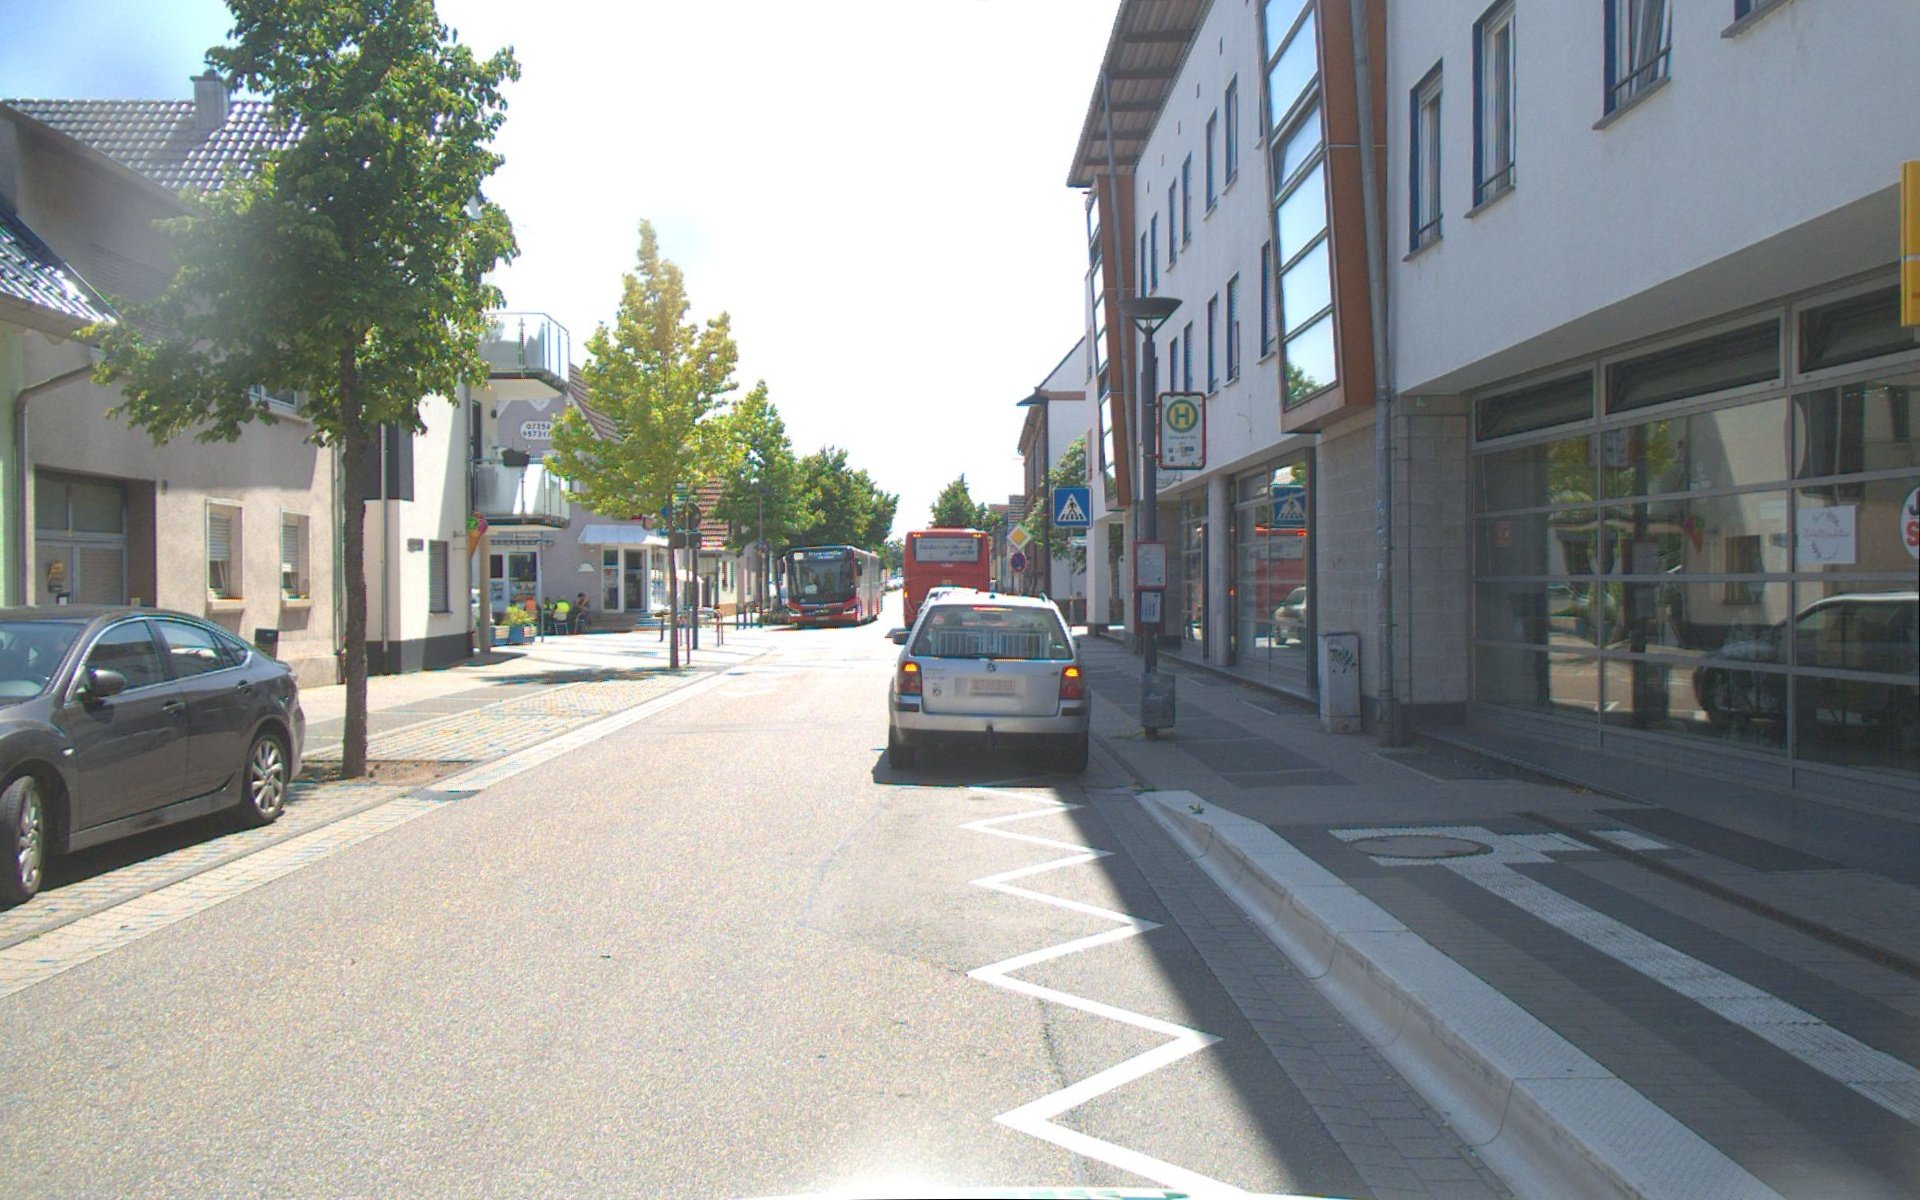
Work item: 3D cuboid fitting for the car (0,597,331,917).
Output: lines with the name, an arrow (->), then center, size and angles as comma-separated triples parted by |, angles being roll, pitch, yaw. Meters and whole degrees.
car -> -5.315, 0.742, 9.551 | 1.626, 1.462, 4.538 | -1, 1, 0

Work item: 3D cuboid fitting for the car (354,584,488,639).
car -> -16.580, 0.326, 51.023 | 3.855, 1.572, 1.511 | -1, 2, -18

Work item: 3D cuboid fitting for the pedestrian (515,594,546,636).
pedestrian -> -13.909, 0.486, 53.514 | 0.631, 1.311, 0.776 | 2, 0, -44

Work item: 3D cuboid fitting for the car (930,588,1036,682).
car -> 0.331, 0.538, 27.885 | 1.643, 1.455, 3.679 | 1, 0, -1

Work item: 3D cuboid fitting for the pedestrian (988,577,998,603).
pedestrian -> 2.219, -0.657, 110.746 | 0.594, 1.696, 0.789 | -1, 0, -3

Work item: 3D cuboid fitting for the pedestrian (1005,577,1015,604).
pedestrian -> 3.276, -0.620, 108.099 | 0.594, 1.696, 0.789 | -1, 0, -3

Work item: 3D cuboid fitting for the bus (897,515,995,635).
bus -> -0.641, -0.737, 52.530 | 2.685, 3.356, 12.699 | 0, 0, -2

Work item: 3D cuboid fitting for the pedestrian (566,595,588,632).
pedestrian -> -12.650, 0.448, 54.594 | 0.610, 1.199, 0.696 | -1, 0, -5

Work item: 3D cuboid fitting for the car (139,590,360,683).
car -> -11.927, 0.592, 27.907 | 3.054, 1.468, 1.585 | -1, 1, -7

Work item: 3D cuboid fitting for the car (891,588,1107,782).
car -> 0.269, 0.647, 14.675 | 1.643, 1.455, 3.679 | 2, 0, -1

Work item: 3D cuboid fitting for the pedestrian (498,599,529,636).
pedestrian -> -14.217, 0.560, 52.713 | 0.631, 1.135, 0.776 | 2, 0, -44

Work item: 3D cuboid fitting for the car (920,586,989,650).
car -> -0.134, 0.394, 39.699 | 1.561, 1.455, 3.679 | 1, 0, 0

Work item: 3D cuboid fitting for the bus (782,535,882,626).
bus -> -5.012, -0.810, 68.392 | 2.614, 3.178, 17.807 | -1, 1, 0

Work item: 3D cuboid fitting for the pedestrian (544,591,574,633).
pedestrian -> -12.918, 0.385, 53.282 | 0.631, 1.311, 0.776 | 2, 0, -44

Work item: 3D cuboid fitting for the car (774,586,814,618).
car -> -7.823, 0.069, 78.299 | 1.572, 1.463, 4.064 | -1, 1, -1
